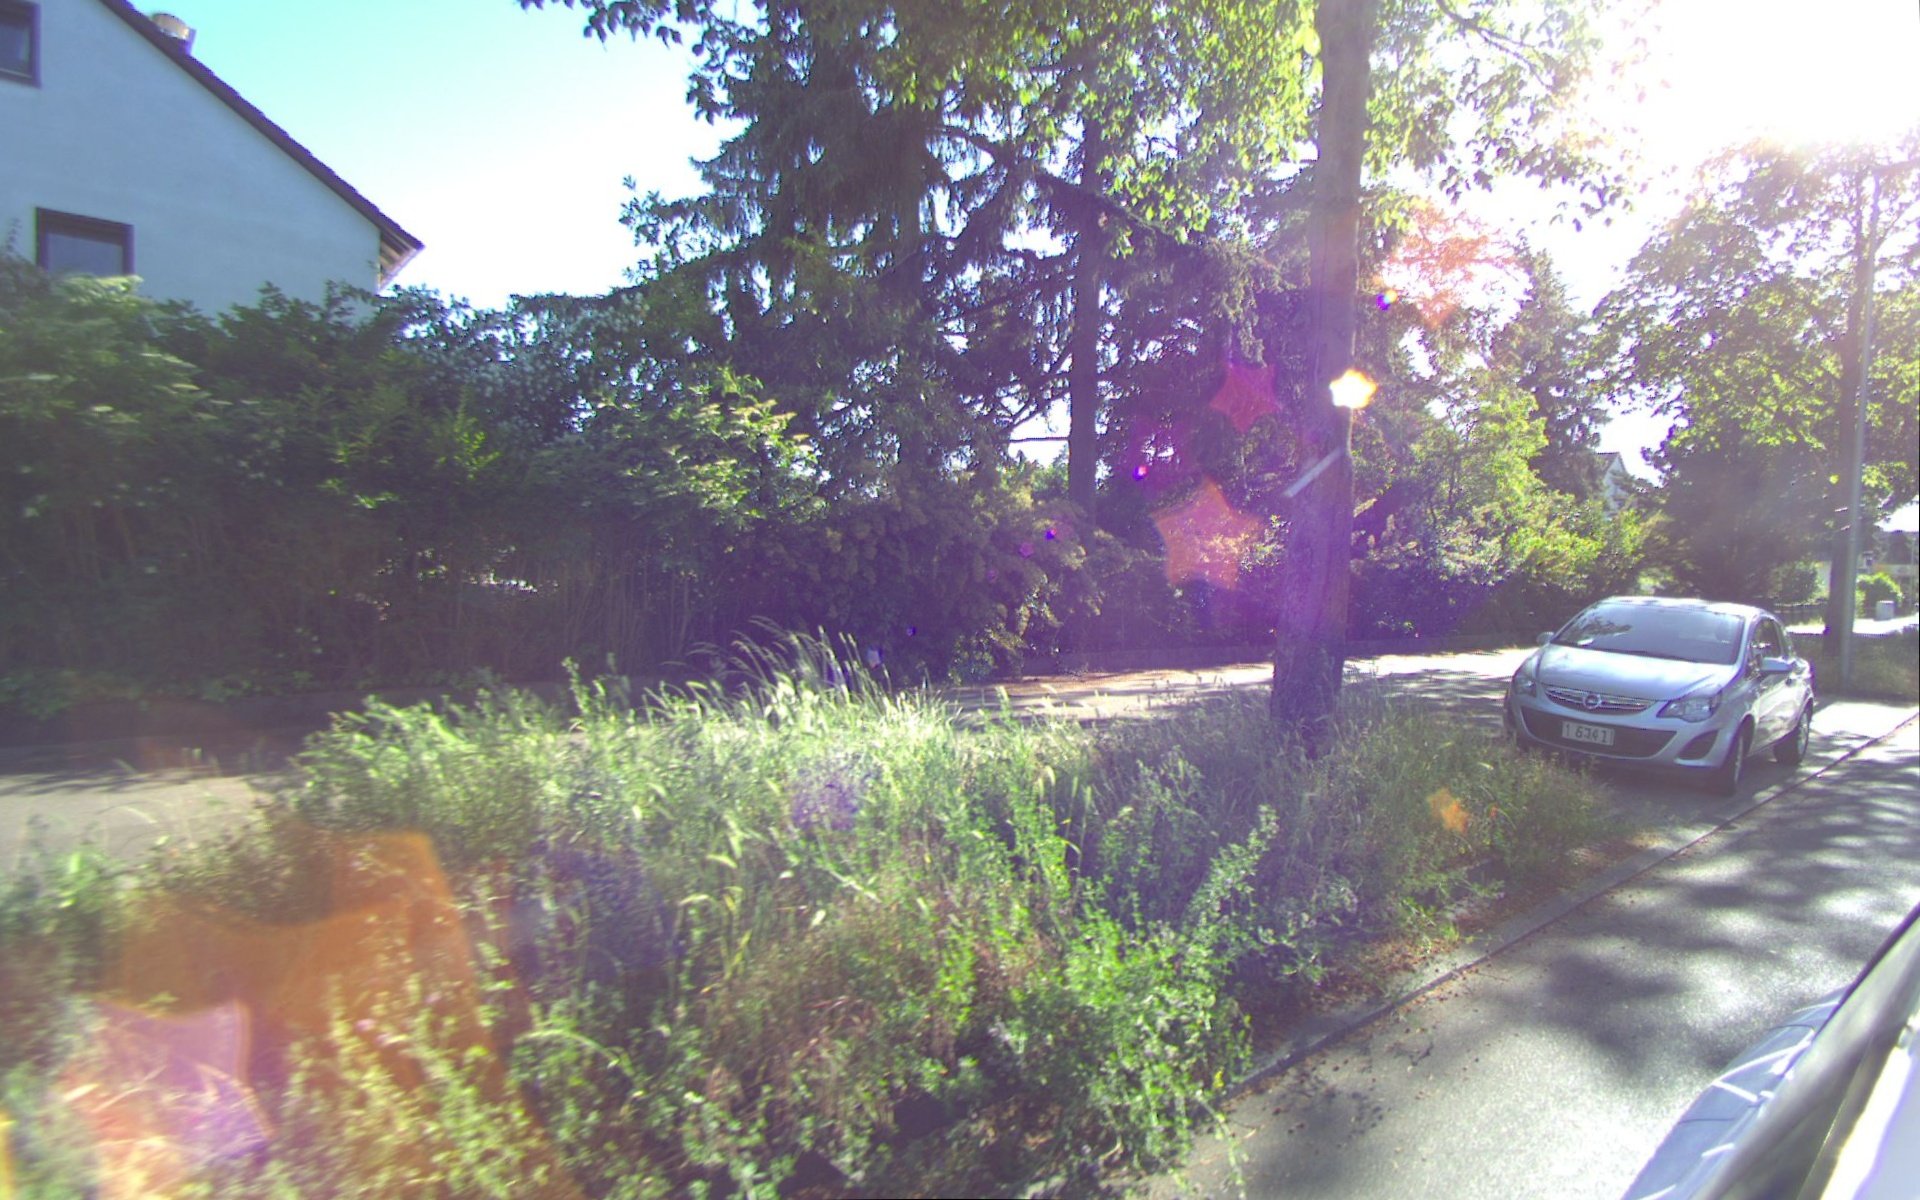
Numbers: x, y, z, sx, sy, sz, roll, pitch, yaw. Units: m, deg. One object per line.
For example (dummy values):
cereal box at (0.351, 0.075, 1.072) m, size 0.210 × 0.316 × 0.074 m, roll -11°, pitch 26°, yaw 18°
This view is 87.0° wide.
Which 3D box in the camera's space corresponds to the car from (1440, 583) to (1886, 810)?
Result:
car at (6.458, 0.664, 9.226) m, size 3.923 × 1.528 × 2.002 m, roll -1°, pitch 4°, yaw -34°
